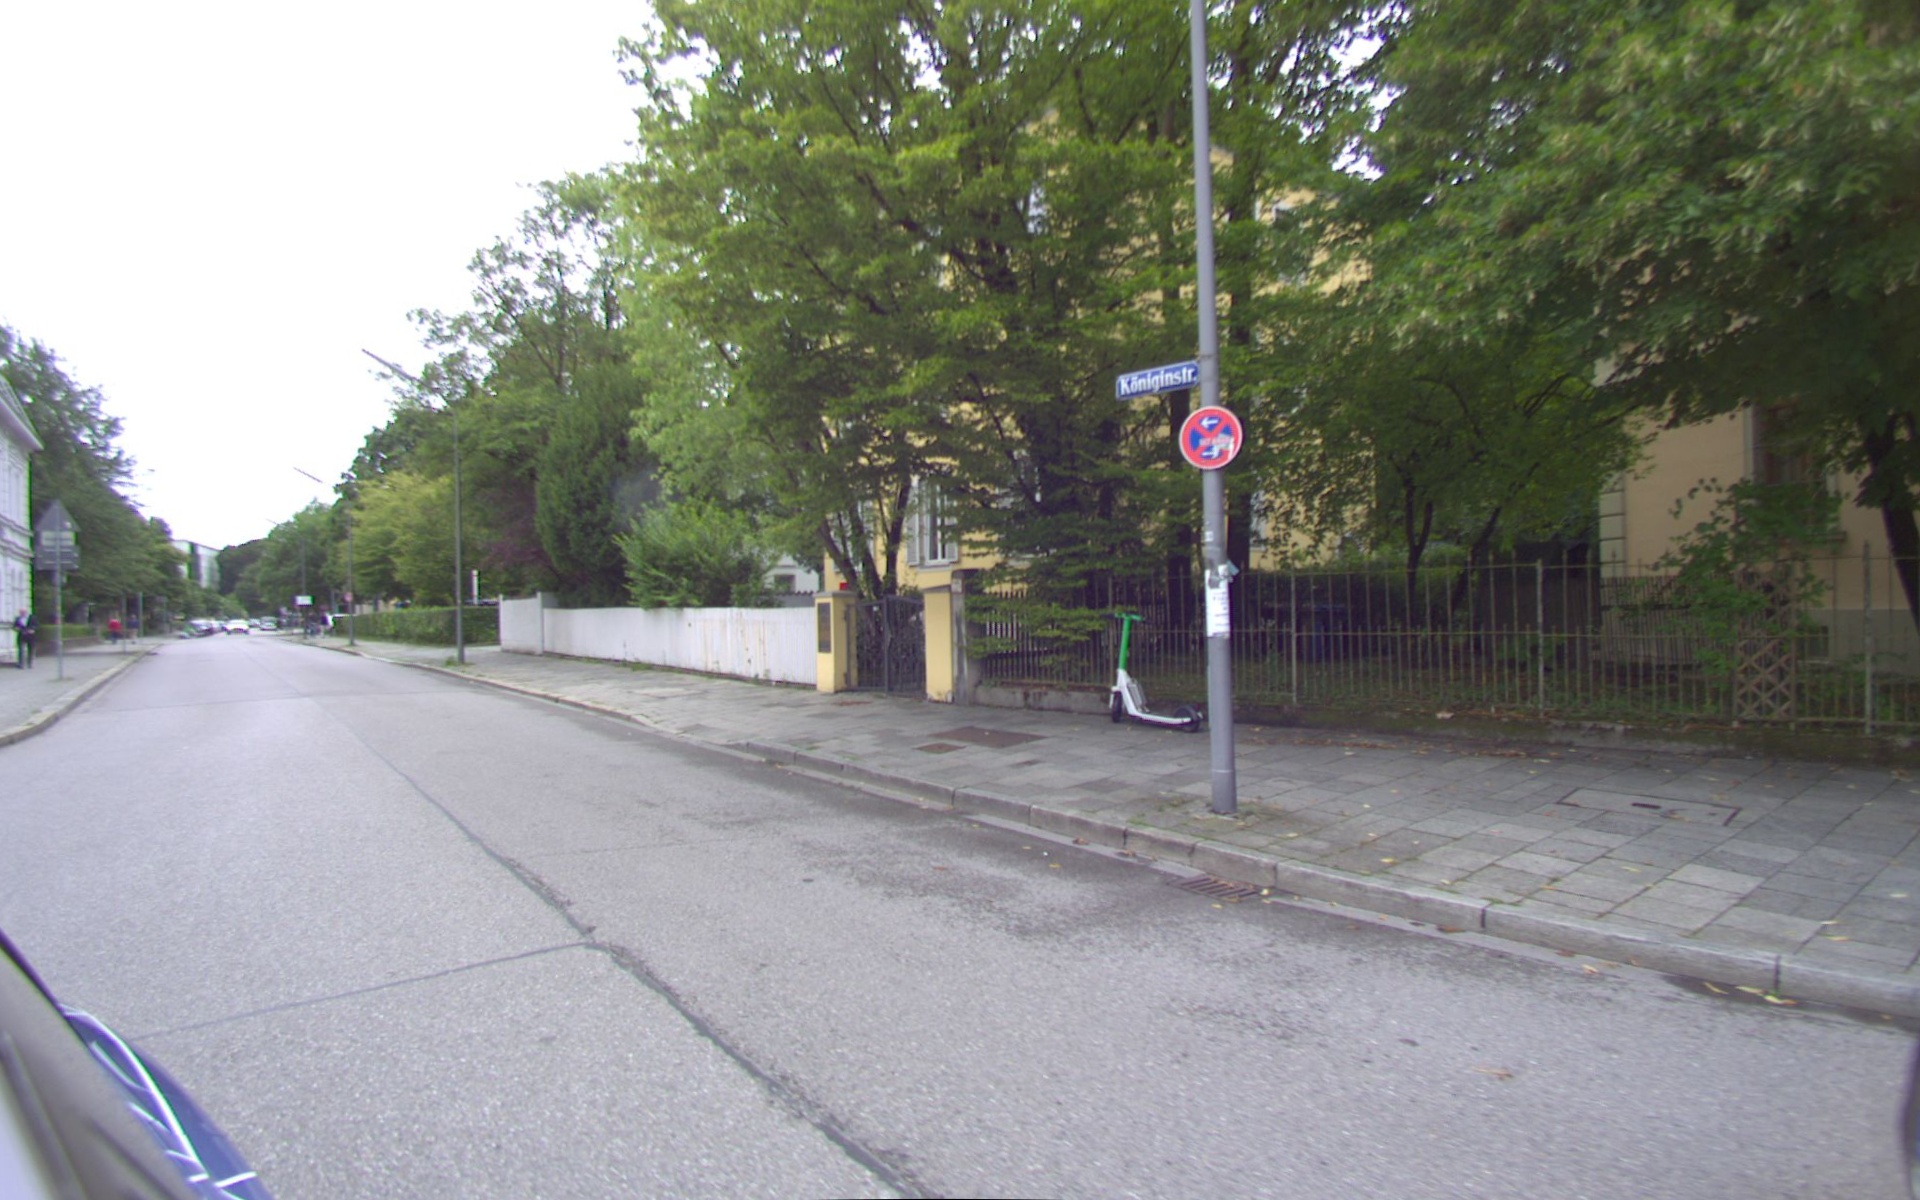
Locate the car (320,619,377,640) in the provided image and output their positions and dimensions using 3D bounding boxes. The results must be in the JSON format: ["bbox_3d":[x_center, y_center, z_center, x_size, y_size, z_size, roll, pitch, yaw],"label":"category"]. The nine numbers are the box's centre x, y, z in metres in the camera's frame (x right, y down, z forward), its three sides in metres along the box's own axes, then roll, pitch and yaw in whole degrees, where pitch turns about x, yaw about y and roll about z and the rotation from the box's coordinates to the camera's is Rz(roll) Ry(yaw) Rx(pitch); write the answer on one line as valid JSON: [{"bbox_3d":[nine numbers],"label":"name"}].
[{"bbox_3d":[-53.375,2.591,88.343,4.067,1.625,1.866,-2,0,-35],"label":"car"}]

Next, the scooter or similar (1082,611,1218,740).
[{"bbox_3d":[1.909,0.733,10.336,0.386,1.198,1.423,-6,2,-35],"label":"scooter or similar"}]

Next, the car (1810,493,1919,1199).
[{"bbox_3d":[3.980,0.575,1.012,4.302,1.706,1.986,-1,-2,21],"label":"car"}]

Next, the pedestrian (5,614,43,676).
[{"bbox_3d":[-26.511,1.265,28.675,0.669,1.719,0.770,0,-1,-34],"label":"pedestrian"}]

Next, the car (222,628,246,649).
[{"bbox_3d":[-75.608,4.019,105.383,1.968,2.029,4.009,-1,0,-37],"label":"car"}]
